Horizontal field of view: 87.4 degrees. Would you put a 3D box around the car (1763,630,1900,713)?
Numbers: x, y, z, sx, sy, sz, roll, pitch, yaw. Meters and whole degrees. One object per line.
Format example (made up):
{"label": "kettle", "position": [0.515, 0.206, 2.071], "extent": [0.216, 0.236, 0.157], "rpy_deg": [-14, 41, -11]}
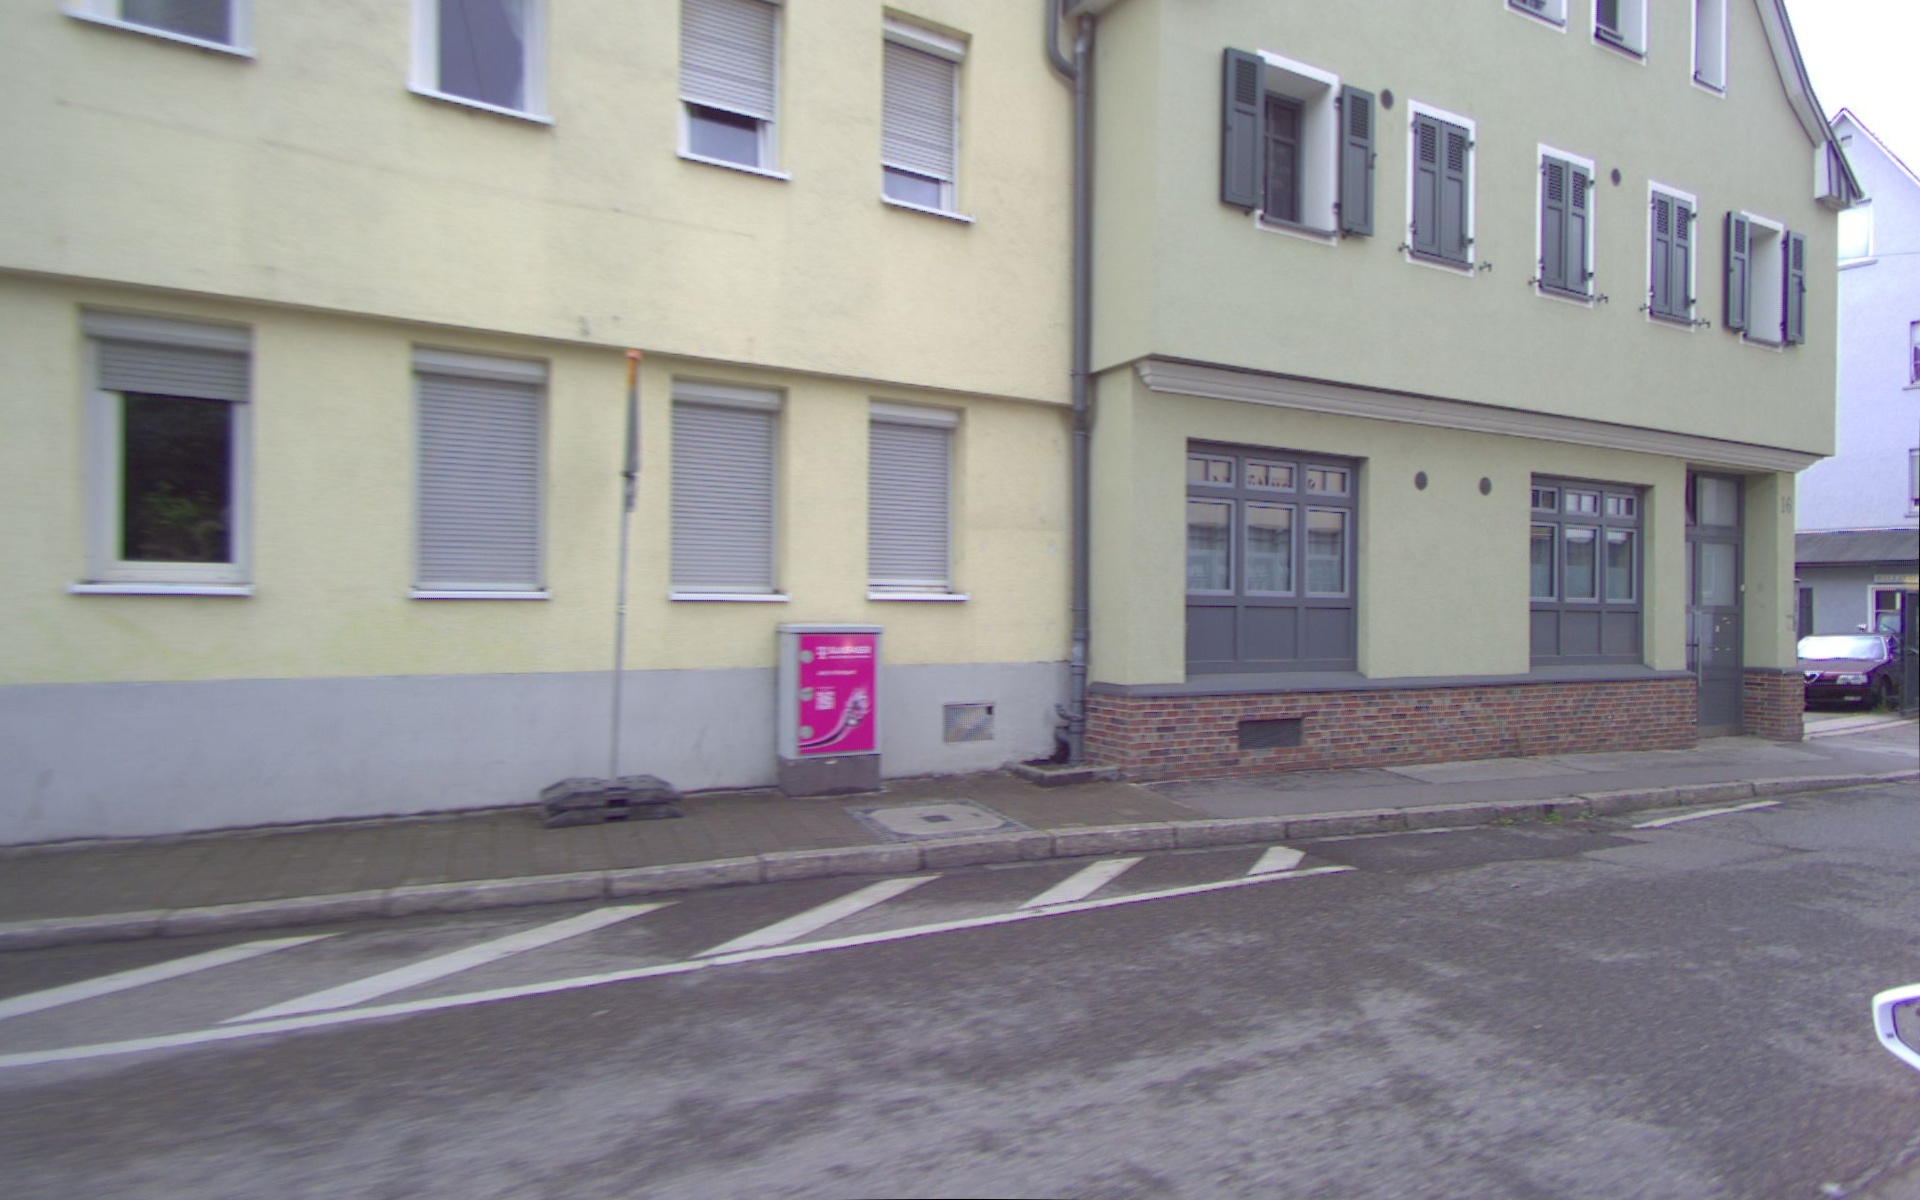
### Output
{"label": "car", "position": [16.518, 1.284, 18.979], "extent": [3.973, 1.372, 1.629], "rpy_deg": [2, -1, -44]}

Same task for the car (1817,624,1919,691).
{"label": "car", "position": [21.174, 1.297, 23.275], "extent": [3.973, 1.372, 1.629], "rpy_deg": [2, -1, -44]}
